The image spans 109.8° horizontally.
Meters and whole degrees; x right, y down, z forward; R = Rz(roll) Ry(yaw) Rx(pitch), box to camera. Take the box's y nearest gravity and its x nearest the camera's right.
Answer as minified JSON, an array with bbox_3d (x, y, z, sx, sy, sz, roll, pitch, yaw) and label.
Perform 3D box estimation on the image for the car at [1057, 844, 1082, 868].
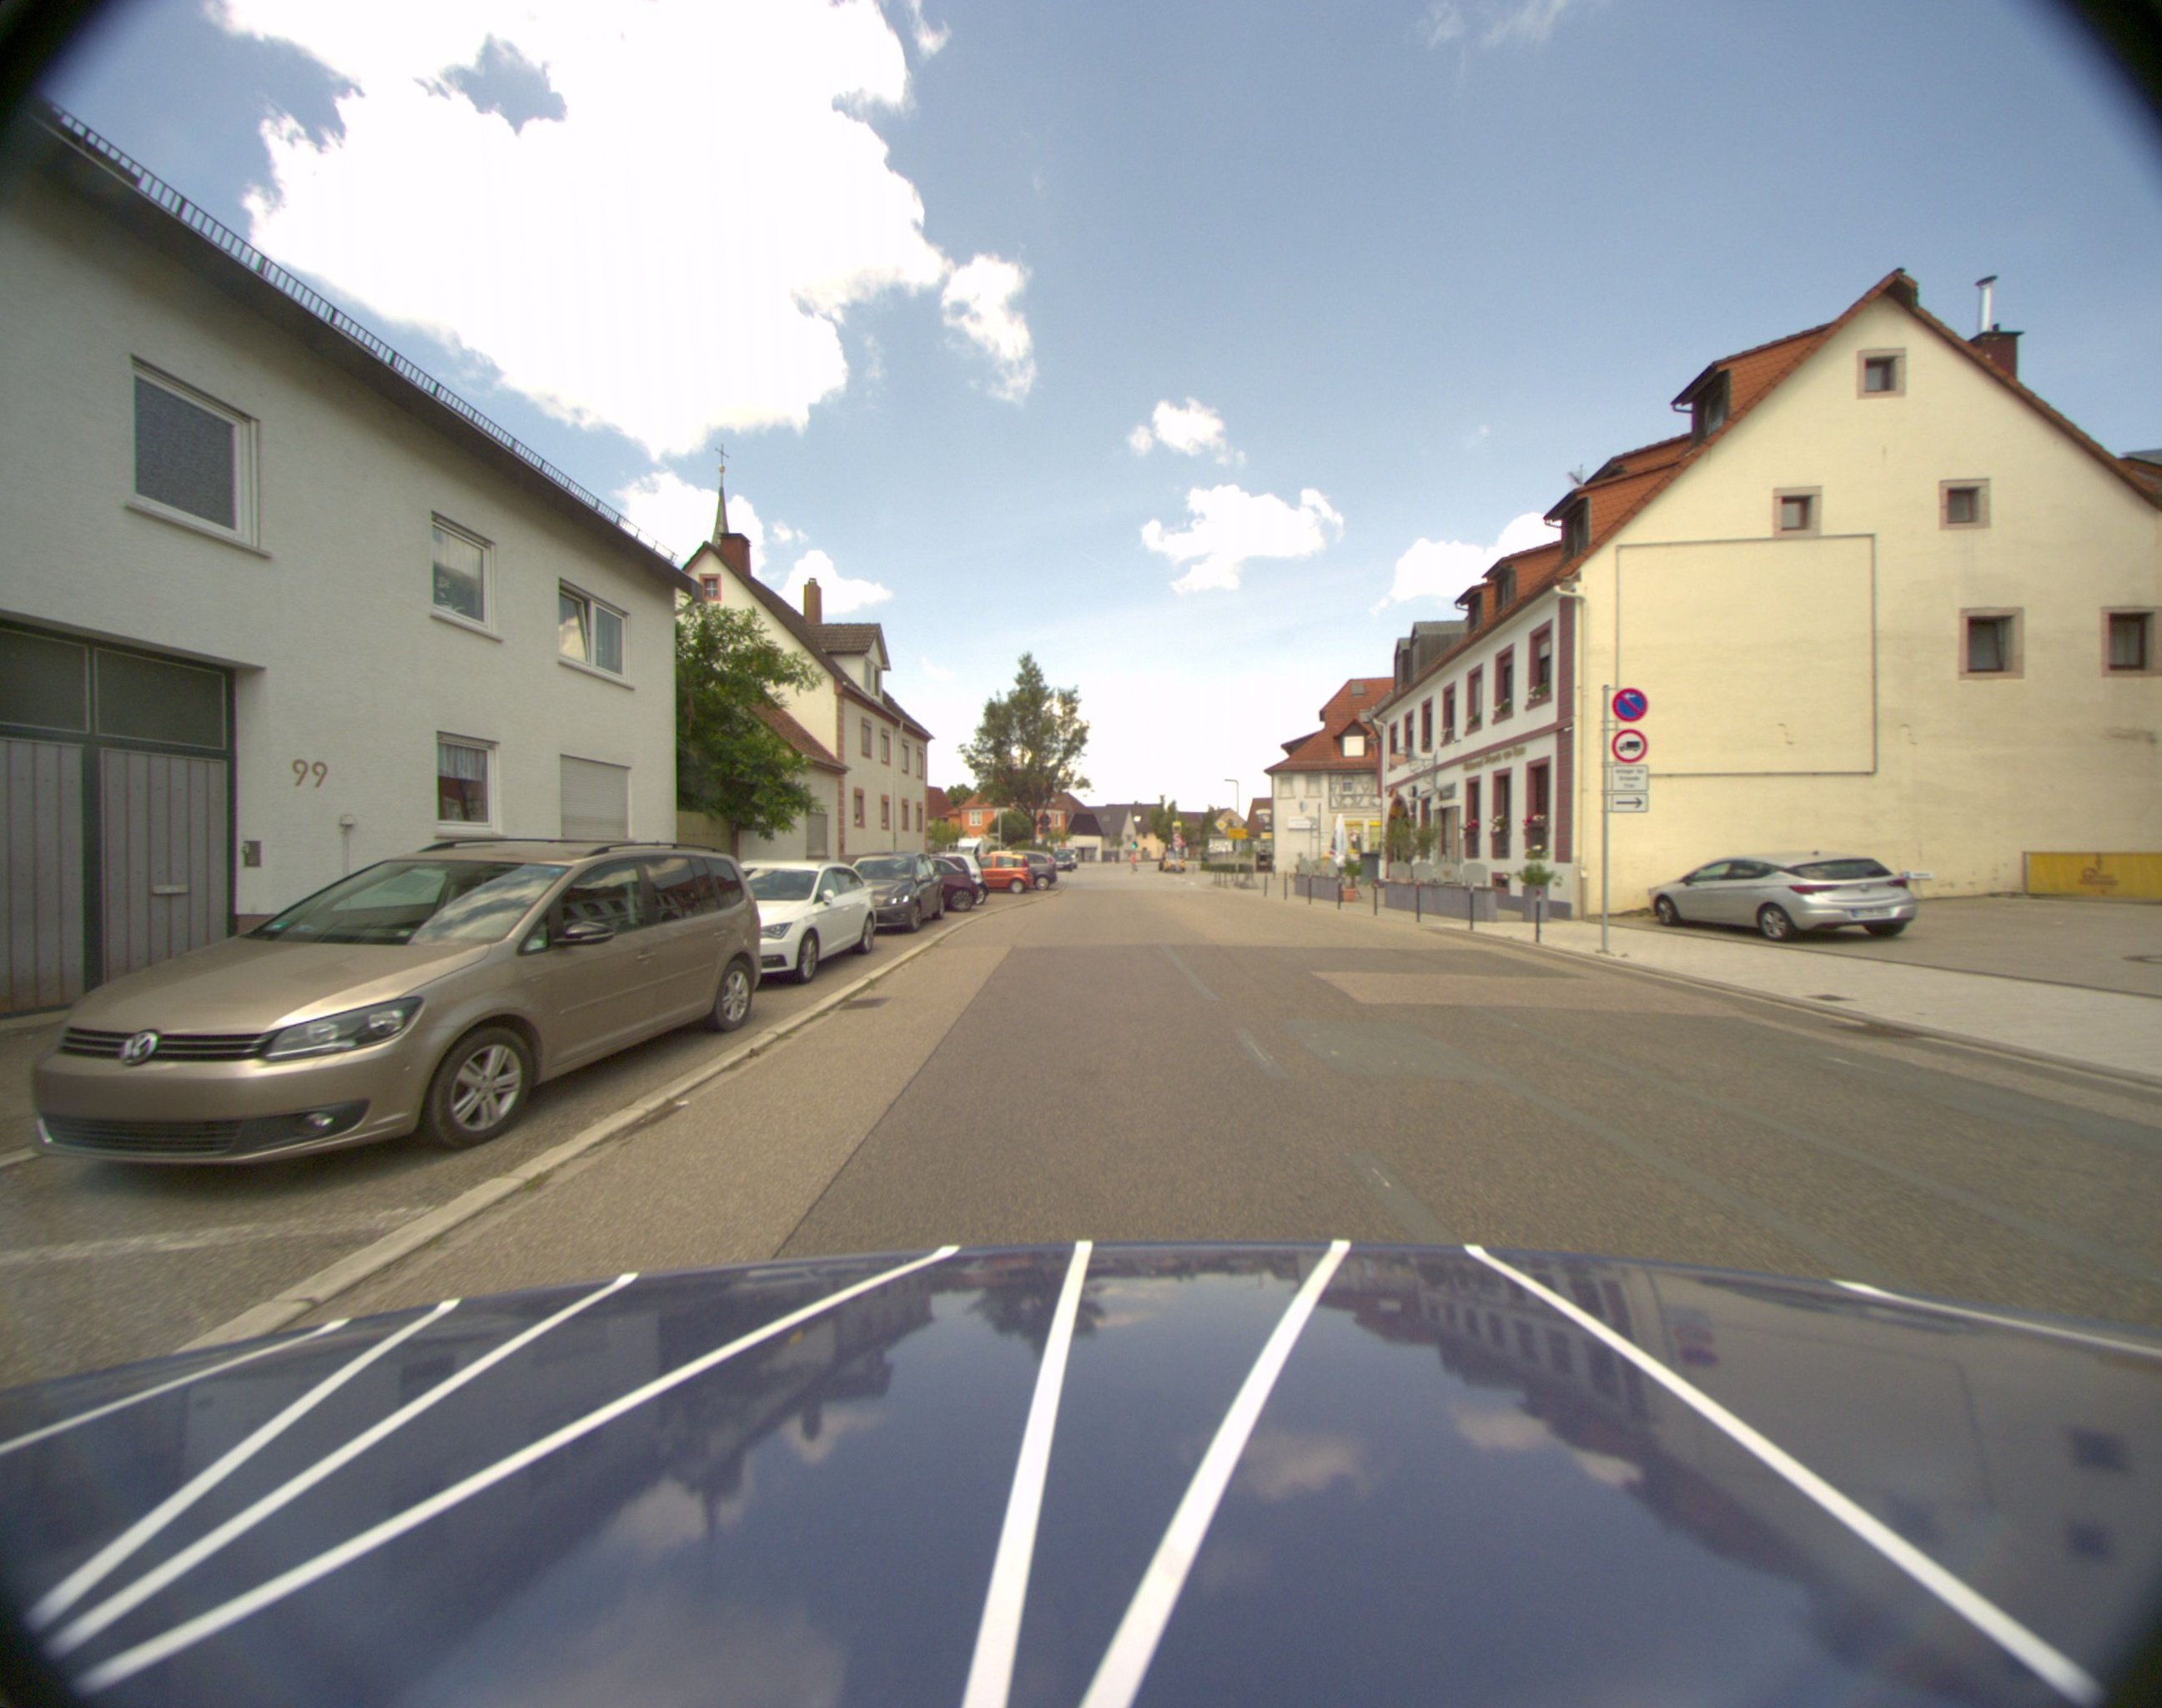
[{"bbox_3d":[-1.083,0.149,72.464,1.947,2.165,5.102,2,1,3],"label":"car"}]

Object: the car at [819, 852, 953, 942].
[{"bbox_3d":[-3.942,0.789,16.091,1.666,1.615,4.272,1,0,1],"label":"car"}]

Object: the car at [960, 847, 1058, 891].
[{"bbox_3d":[-2.947,0.605,31.568,3.858,1.569,1.849,2,3,-1],"label":"car"}]

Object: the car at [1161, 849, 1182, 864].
[{"bbox_3d":[8.539,0.230,71.401,1.819,1.415,4.540,0,0,8],"label":"car"}]

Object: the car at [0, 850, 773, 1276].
[{"bbox_3d":[-4.070,0.822,5.220,1.998,1.671,4.323,1,1,3],"label":"car"}]

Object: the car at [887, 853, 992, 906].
[{"bbox_3d":[-4.275,0.728,22.831,2.791,1.496,1.874,0,1,-21],"label":"car"}]

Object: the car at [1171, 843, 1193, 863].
[{"bbox_3d":[10.504,-0.134,79.131,1.989,1.979,5.048,0,0,11],"label":"car"}]

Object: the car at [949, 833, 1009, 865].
[{"bbox_3d":[-9.837,-0.554,74.165,2.755,2.946,7.123,2,1,20],"label":"car"}]

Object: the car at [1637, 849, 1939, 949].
[{"bbox_3d":[12.500,0.687,13.896,1.762,1.484,4.277,-2,0,5],"label":"car"}]

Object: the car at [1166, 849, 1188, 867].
[{"bbox_3d":[8.118,0.305,64.721,1.671,1.466,3.964,1,0,5],"label":"car"}]

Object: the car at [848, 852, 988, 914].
[{"bbox_3d":[-4.300,0.755,19.978,3.241,1.496,1.823,2,0,-24],"label":"car"}]

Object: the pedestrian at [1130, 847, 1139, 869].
[{"bbox_3d":[3.848,0.288,54.749,0.640,1.619,0.620,1,1,5],"label":"pedestrian"}]

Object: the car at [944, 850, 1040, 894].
[{"bbox_3d":[-3.376,0.671,29.198,3.385,1.568,1.726,1,1,2],"label":"car"}]

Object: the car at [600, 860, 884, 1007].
[{"bbox_3d":[-4.215,0.876,10.370,1.999,1.509,4.370,1,1,-2],"label":"car"}]

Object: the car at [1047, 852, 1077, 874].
[{"bbox_3d":[-1.425,0.647,58.972,1.772,1.555,4.419,3,1,4],"label":"car"}]
